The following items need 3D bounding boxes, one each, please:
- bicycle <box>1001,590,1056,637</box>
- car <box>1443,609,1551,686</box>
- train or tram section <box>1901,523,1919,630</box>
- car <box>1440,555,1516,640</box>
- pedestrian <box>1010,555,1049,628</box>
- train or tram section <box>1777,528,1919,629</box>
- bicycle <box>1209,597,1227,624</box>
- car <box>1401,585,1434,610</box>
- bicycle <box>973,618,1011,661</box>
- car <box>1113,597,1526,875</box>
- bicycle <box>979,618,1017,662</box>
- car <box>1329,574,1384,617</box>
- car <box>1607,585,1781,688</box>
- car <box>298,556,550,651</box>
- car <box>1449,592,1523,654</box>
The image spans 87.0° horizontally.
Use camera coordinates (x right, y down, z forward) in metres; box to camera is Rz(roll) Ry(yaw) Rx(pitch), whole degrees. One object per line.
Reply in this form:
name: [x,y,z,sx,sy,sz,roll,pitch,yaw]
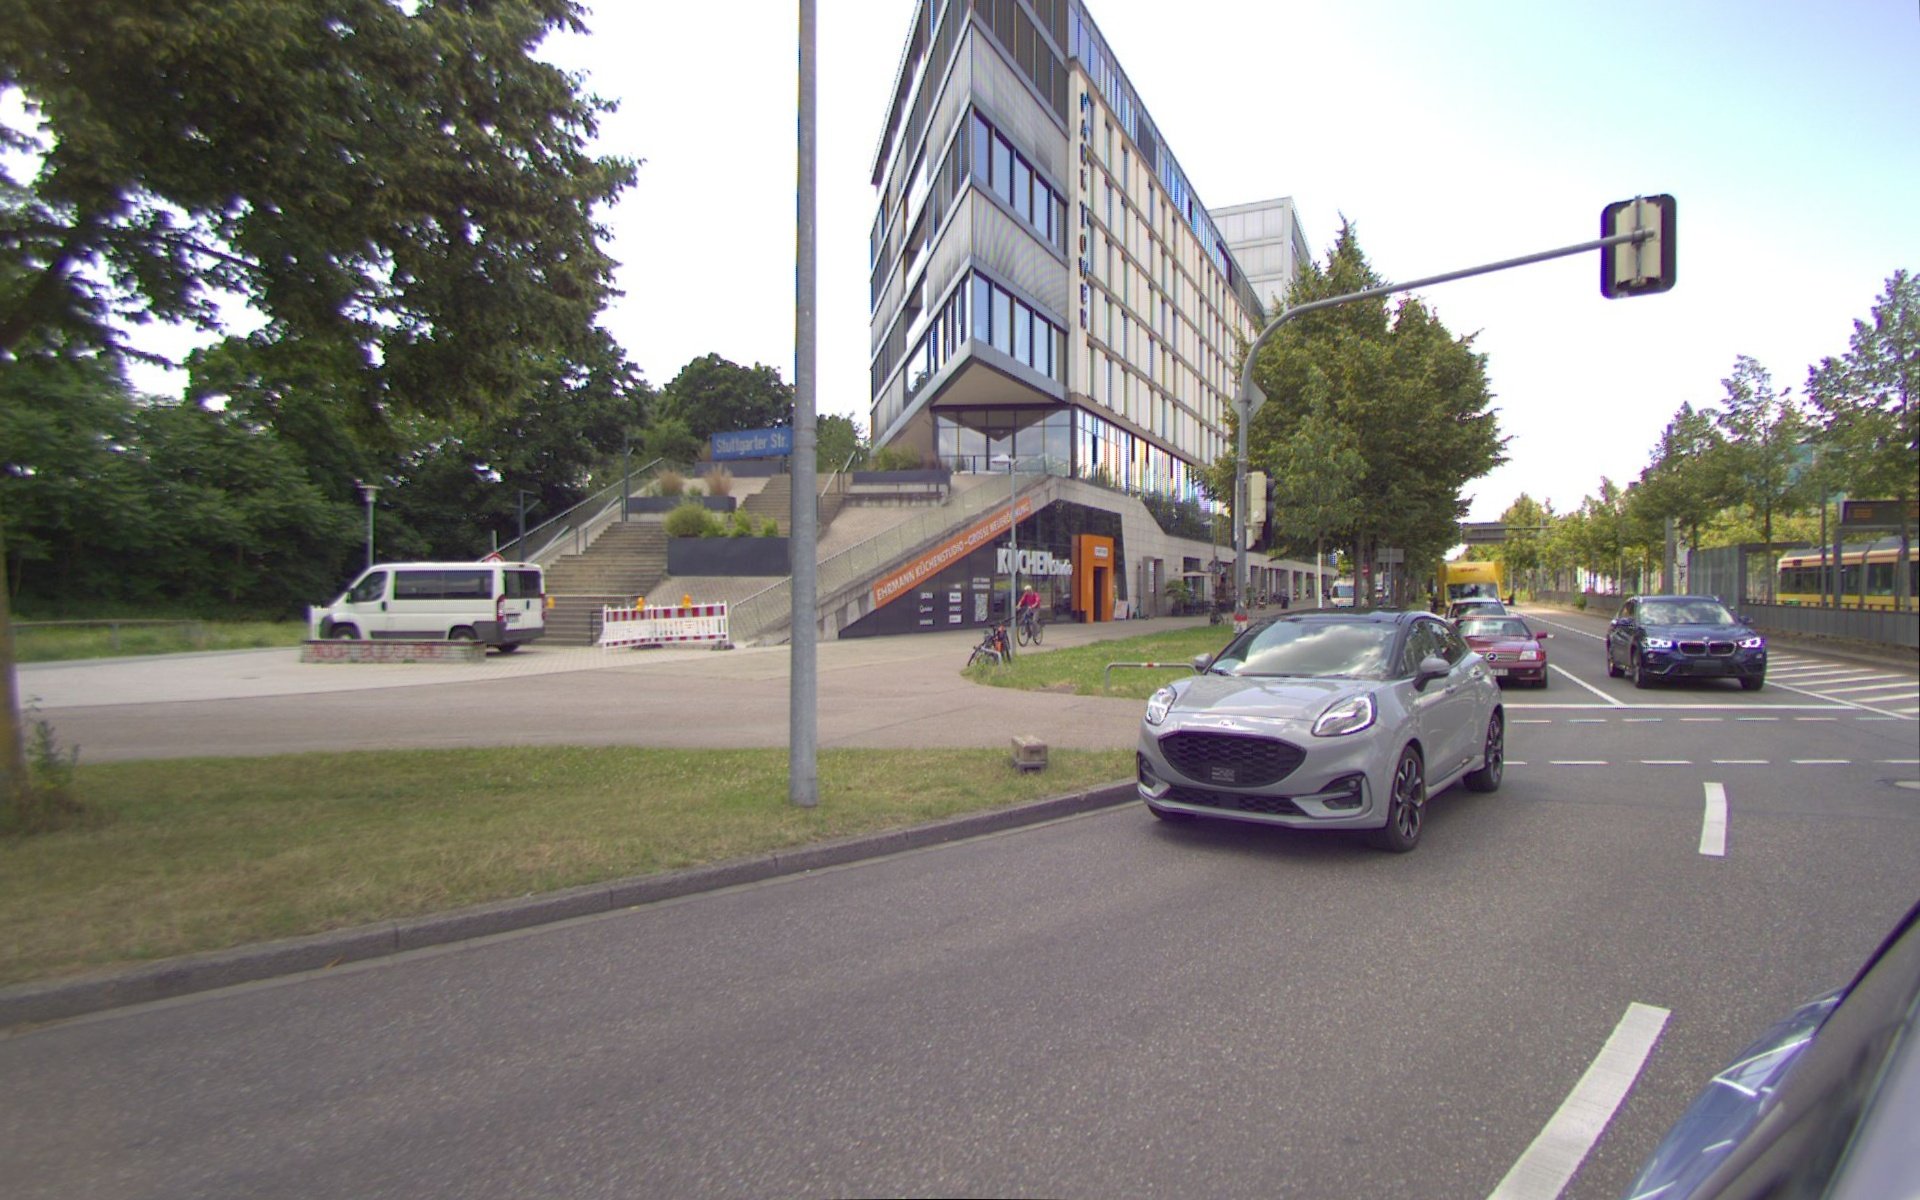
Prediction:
bicycle: [1.971,0.359,28.813,0.803,1.260,2.392,1,1,24]
car: [10.380,0.833,19.498,1.660,1.277,4.049,-1,0,30]
train or tram section: [33.165,-0.811,30.594,2.821,3.787,13.361,0,0,25]
car: [19.503,-0.101,38.396,2.261,2.889,7.194,0,0,25]
pedestrian: [1.995,-0.255,28.879,0.747,2.038,1.222,1,2,24]
train or tram section: [38.925,-0.802,43.290,2.667,3.684,14.539,0,0,25]
bicycle: [11.026,0.447,43.266,0.510,1.102,1.736,1,0,22]
car: [32.252,-0.207,71.233,1.807,1.672,3.961,-2,0,28]
bicycle: [0.680,0.814,21.091,0.354,0.837,1.464,0,0,19]
car: [2.939,0.750,7.692,1.667,1.489,4.033,0,0,40]
bicycle: [0.791,0.807,20.645,0.354,0.837,1.464,0,0,19]
car: [23.854,-0.280,60.718,2.144,2.424,6.213,-2,0,29]
car: [13.167,0.590,18.423,1.757,1.619,4.092,-2,0,25]
car: [-12.815,0.093,24.369,5.062,2.175,2.145,0,0,7]
car: [14.894,0.615,28.818,1.657,1.619,4.091,-2,-1,25]
